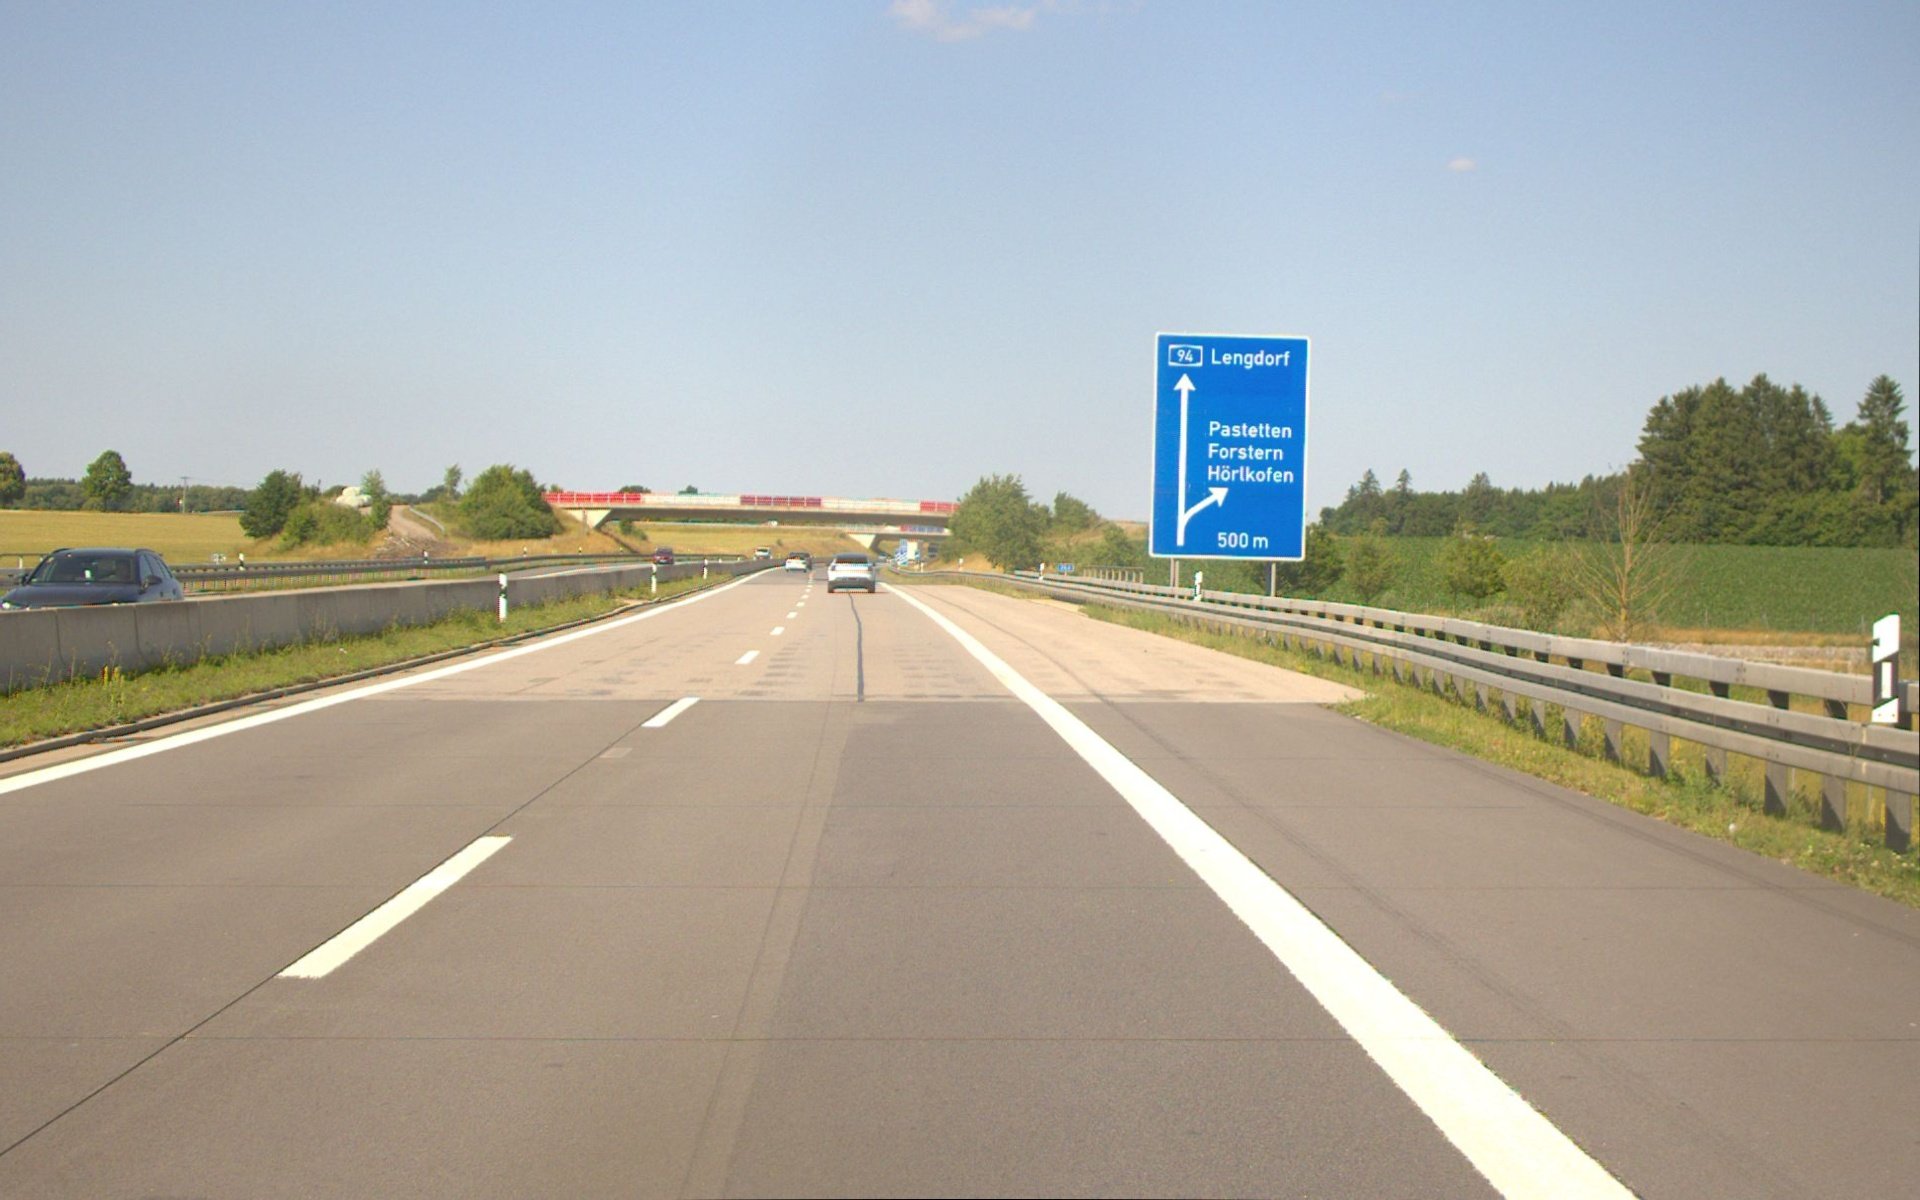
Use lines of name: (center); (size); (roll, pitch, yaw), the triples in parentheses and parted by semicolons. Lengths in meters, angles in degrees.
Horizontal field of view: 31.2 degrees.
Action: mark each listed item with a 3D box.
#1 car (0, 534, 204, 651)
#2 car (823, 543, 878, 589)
car: (-11.789, -0.138, 47.073); (1.898, 1.518, 4.806); (0, 1, -1)
car: (-4.304, -1.347, 134.372); (1.993, 1.725, 4.870); (1, 1, -4)
